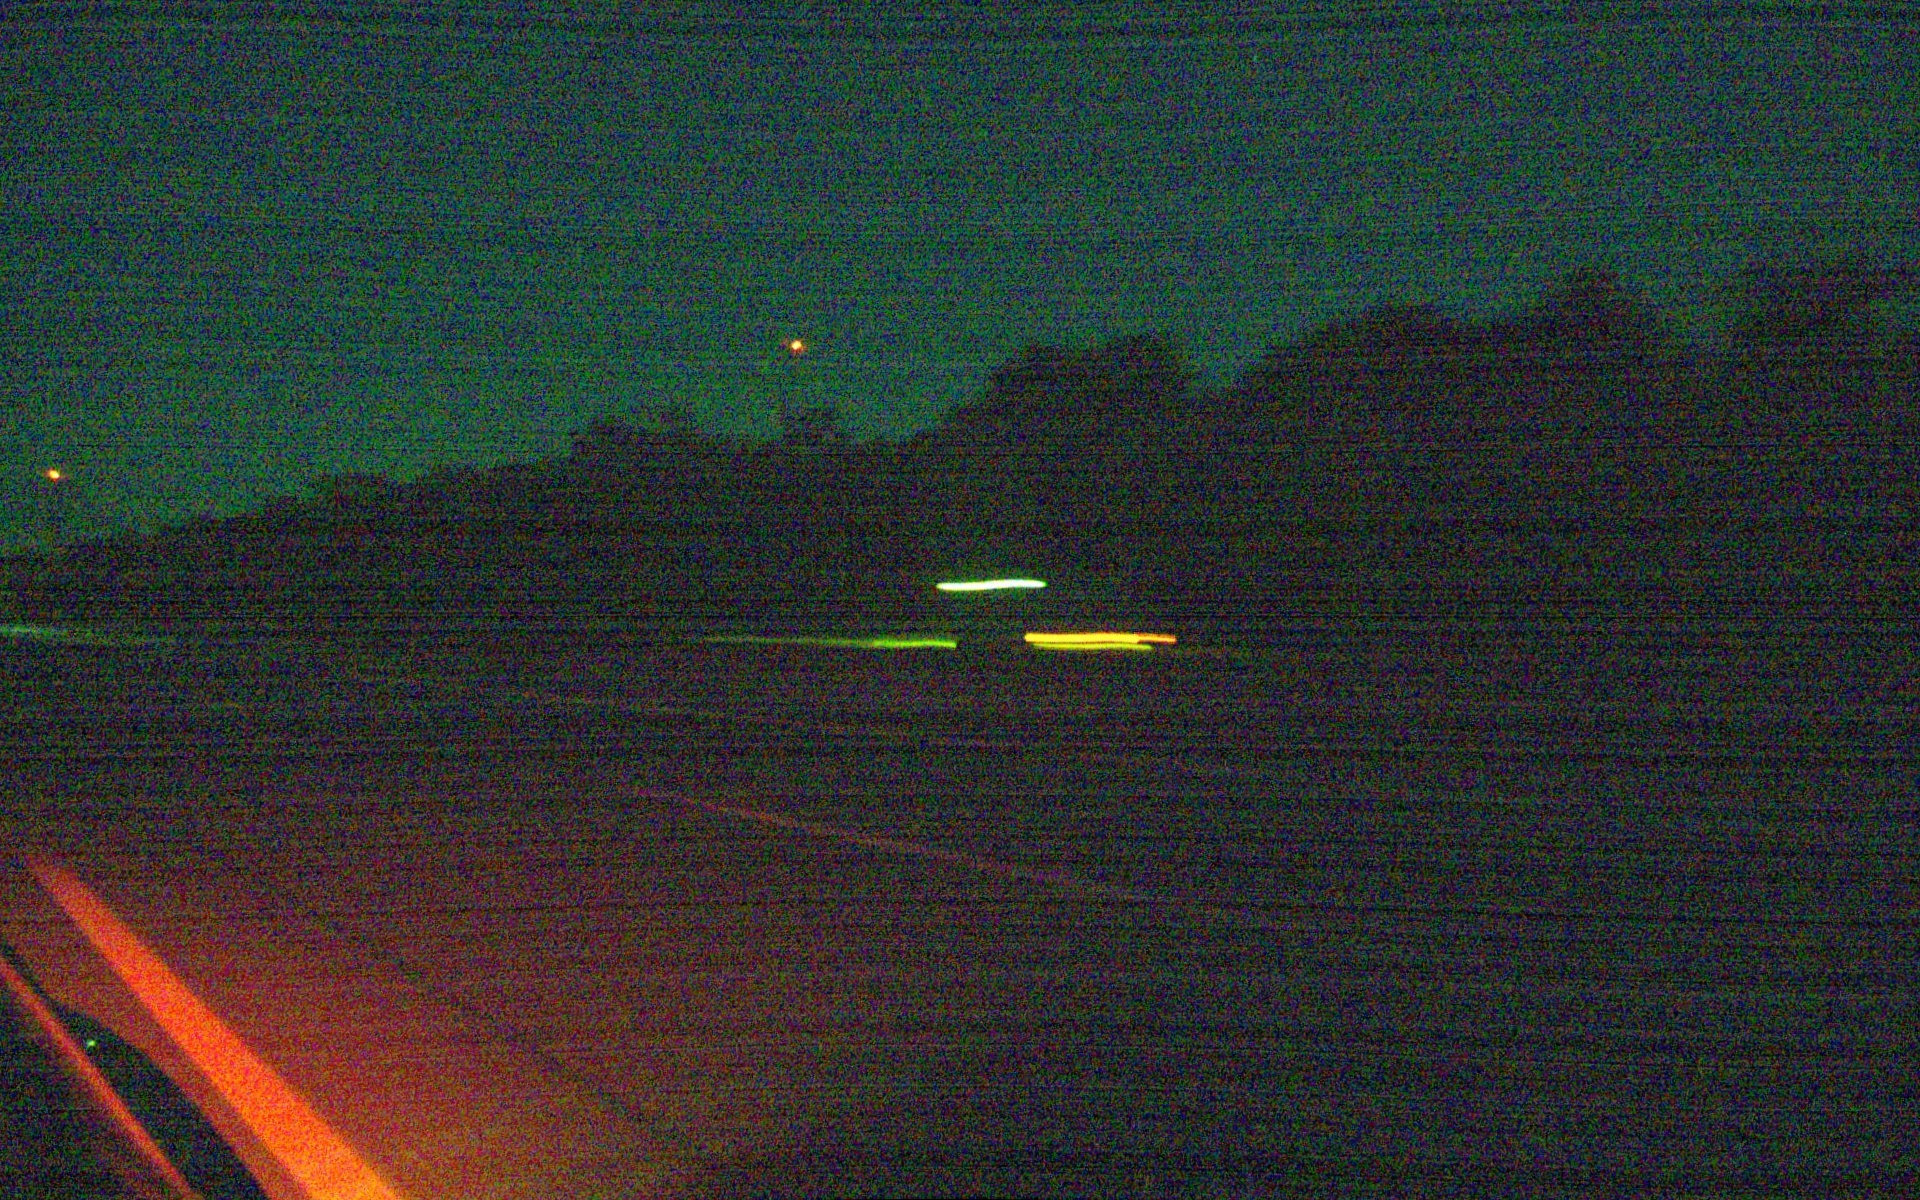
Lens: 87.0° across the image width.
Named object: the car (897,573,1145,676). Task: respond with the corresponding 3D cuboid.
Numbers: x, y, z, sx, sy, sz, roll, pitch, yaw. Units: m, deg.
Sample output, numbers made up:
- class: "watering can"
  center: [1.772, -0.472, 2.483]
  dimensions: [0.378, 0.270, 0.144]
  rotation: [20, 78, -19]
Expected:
- class: "car"
  center: [1.504, 0.567, 27.488]
  dimensions: [6.667, 2.470, 2.366]
  rotation: [0, 1, 41]
